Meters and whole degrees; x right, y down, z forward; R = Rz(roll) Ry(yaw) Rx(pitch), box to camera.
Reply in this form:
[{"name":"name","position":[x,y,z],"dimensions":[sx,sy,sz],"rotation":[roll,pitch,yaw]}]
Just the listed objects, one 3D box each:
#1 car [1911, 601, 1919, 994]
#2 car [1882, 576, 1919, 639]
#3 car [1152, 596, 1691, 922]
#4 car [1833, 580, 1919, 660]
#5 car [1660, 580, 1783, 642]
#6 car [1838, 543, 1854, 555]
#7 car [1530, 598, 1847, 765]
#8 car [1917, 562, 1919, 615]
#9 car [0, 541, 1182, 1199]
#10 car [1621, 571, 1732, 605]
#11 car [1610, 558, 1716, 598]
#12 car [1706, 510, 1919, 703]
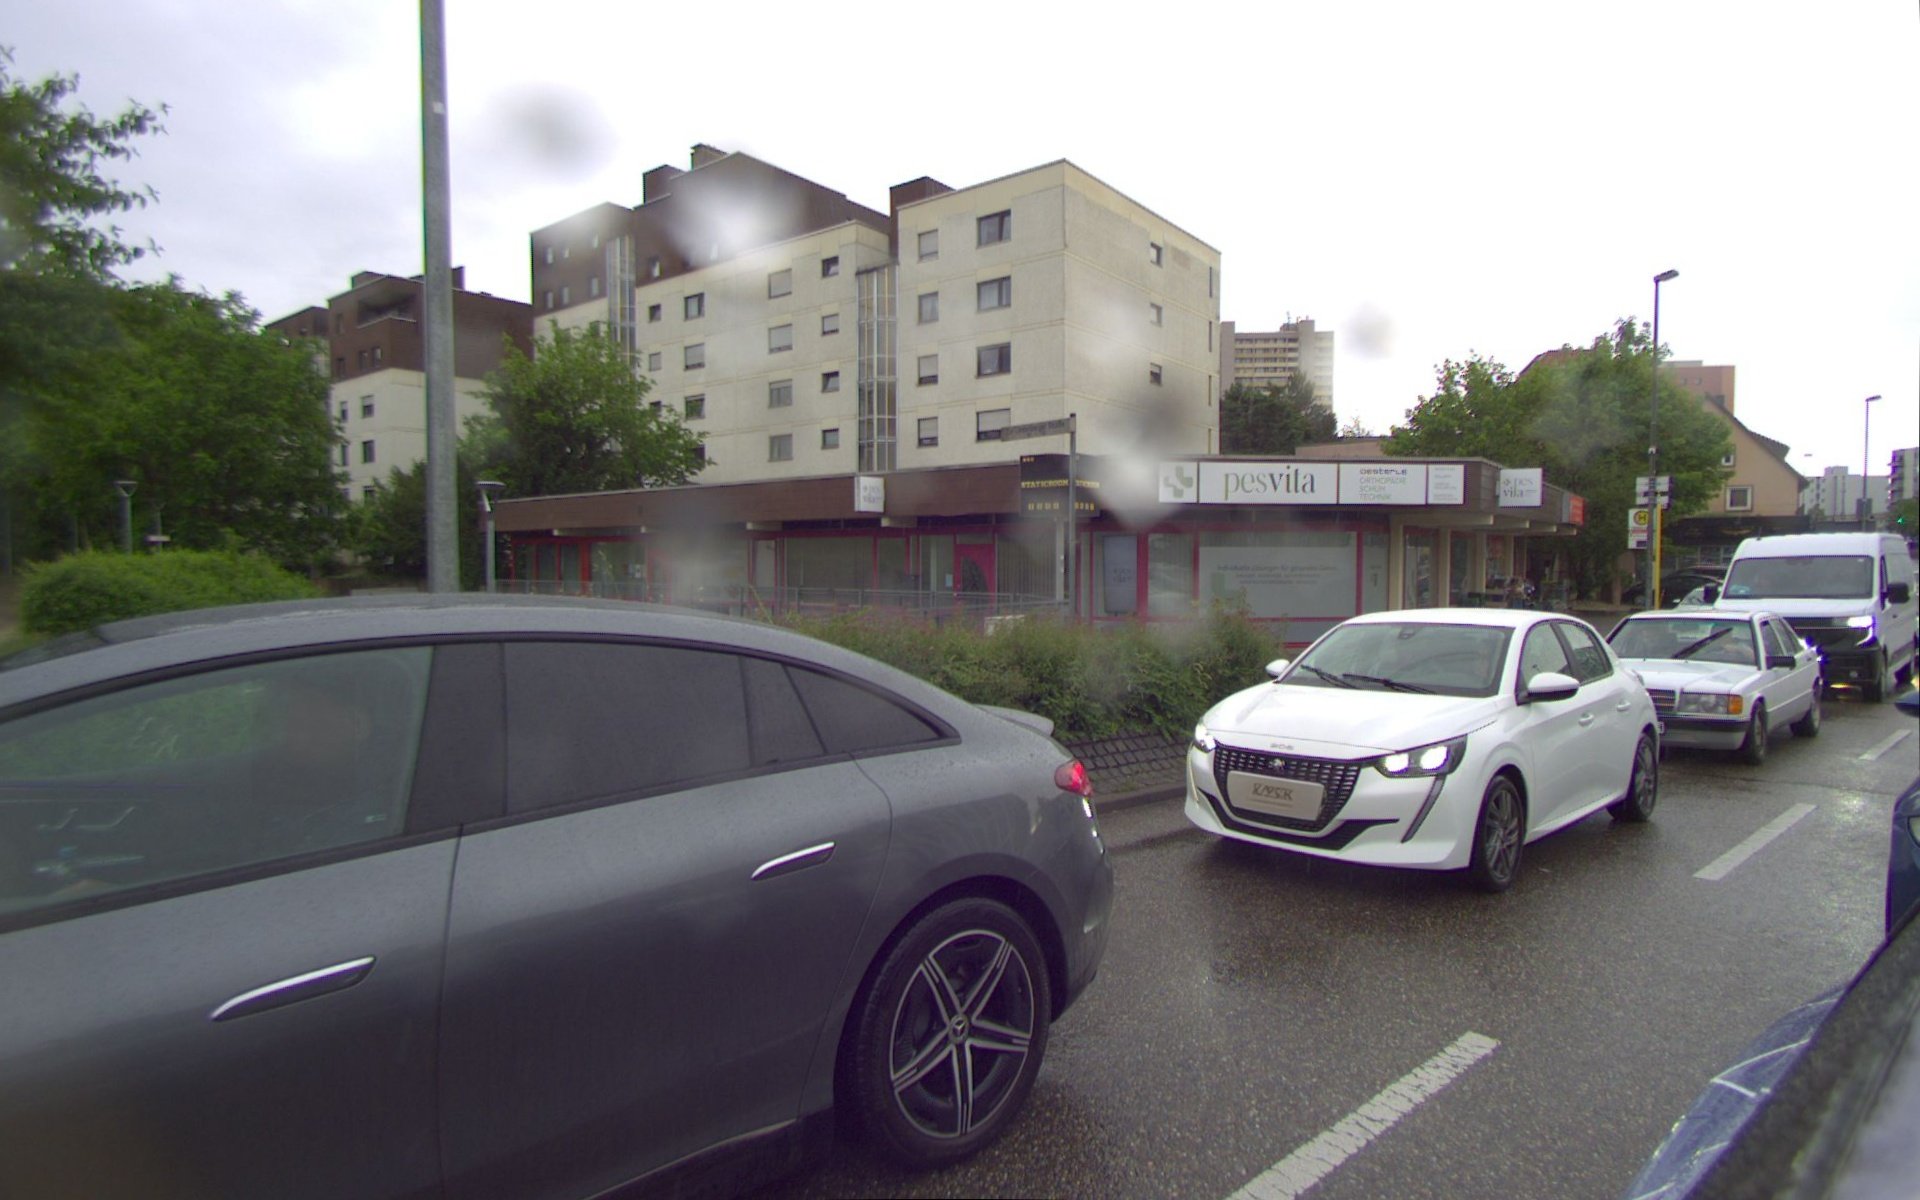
[{"name":"car","position":[5.429,0.703,4.367],"dimensions":[3.933,1.406,1.690],"rotation":[-1,1,-43]},{"name":"car","position":[26.347,0.165,27.208],"dimensions":[3.933,1.588,1.996],"rotation":[-2,1,-43]},{"name":"car","position":[3.174,0.712,6.550],"dimensions":[4.043,1.433,1.665],"rotation":[-1,1,-41]},{"name":"car","position":[20.133,0.365,21.534],"dimensions":[3.930,1.558,1.802],"rotation":[-1,2,-41]},{"name":"car","position":[20.019,0.228,26.568],"dimensions":[3.930,1.509,1.787],"rotation":[-1,1,-41]},{"name":"car","position":[139.559,-8.040,159.451],"dimensions":[1.657,1.654,3.754],"rotation":[1,1,37]},{"name":"car","position":[7.724,0.685,10.587],"dimensions":[4.089,1.362,1.787],"rotation":[-1,1,-41]},{"name":"car","position":[39.465,-0.449,39.969],"dimensions":[3.930,2.038,1.998],"rotation":[-1,3,-40]},{"name":"car","position":[-1.656,0.665,2.385],"dimensions":[4.724,1.485,1.840],"rotation":[0,-1,-41]},{"name":"car","position":[32.066,-0.572,45.335],"dimensions":[3.981,1.445,1.858],"rotation":[2,2,39]},{"name":"car","position":[33.082,-1.043,47.689],"dimensions":[3.981,1.801,1.858],"rotation":[2,2,39]},{"name":"car","position":[13.993,0.003,16.269],"dimensions":[6.021,2.549,2.194],"rotation":[-2,2,-43]}]
